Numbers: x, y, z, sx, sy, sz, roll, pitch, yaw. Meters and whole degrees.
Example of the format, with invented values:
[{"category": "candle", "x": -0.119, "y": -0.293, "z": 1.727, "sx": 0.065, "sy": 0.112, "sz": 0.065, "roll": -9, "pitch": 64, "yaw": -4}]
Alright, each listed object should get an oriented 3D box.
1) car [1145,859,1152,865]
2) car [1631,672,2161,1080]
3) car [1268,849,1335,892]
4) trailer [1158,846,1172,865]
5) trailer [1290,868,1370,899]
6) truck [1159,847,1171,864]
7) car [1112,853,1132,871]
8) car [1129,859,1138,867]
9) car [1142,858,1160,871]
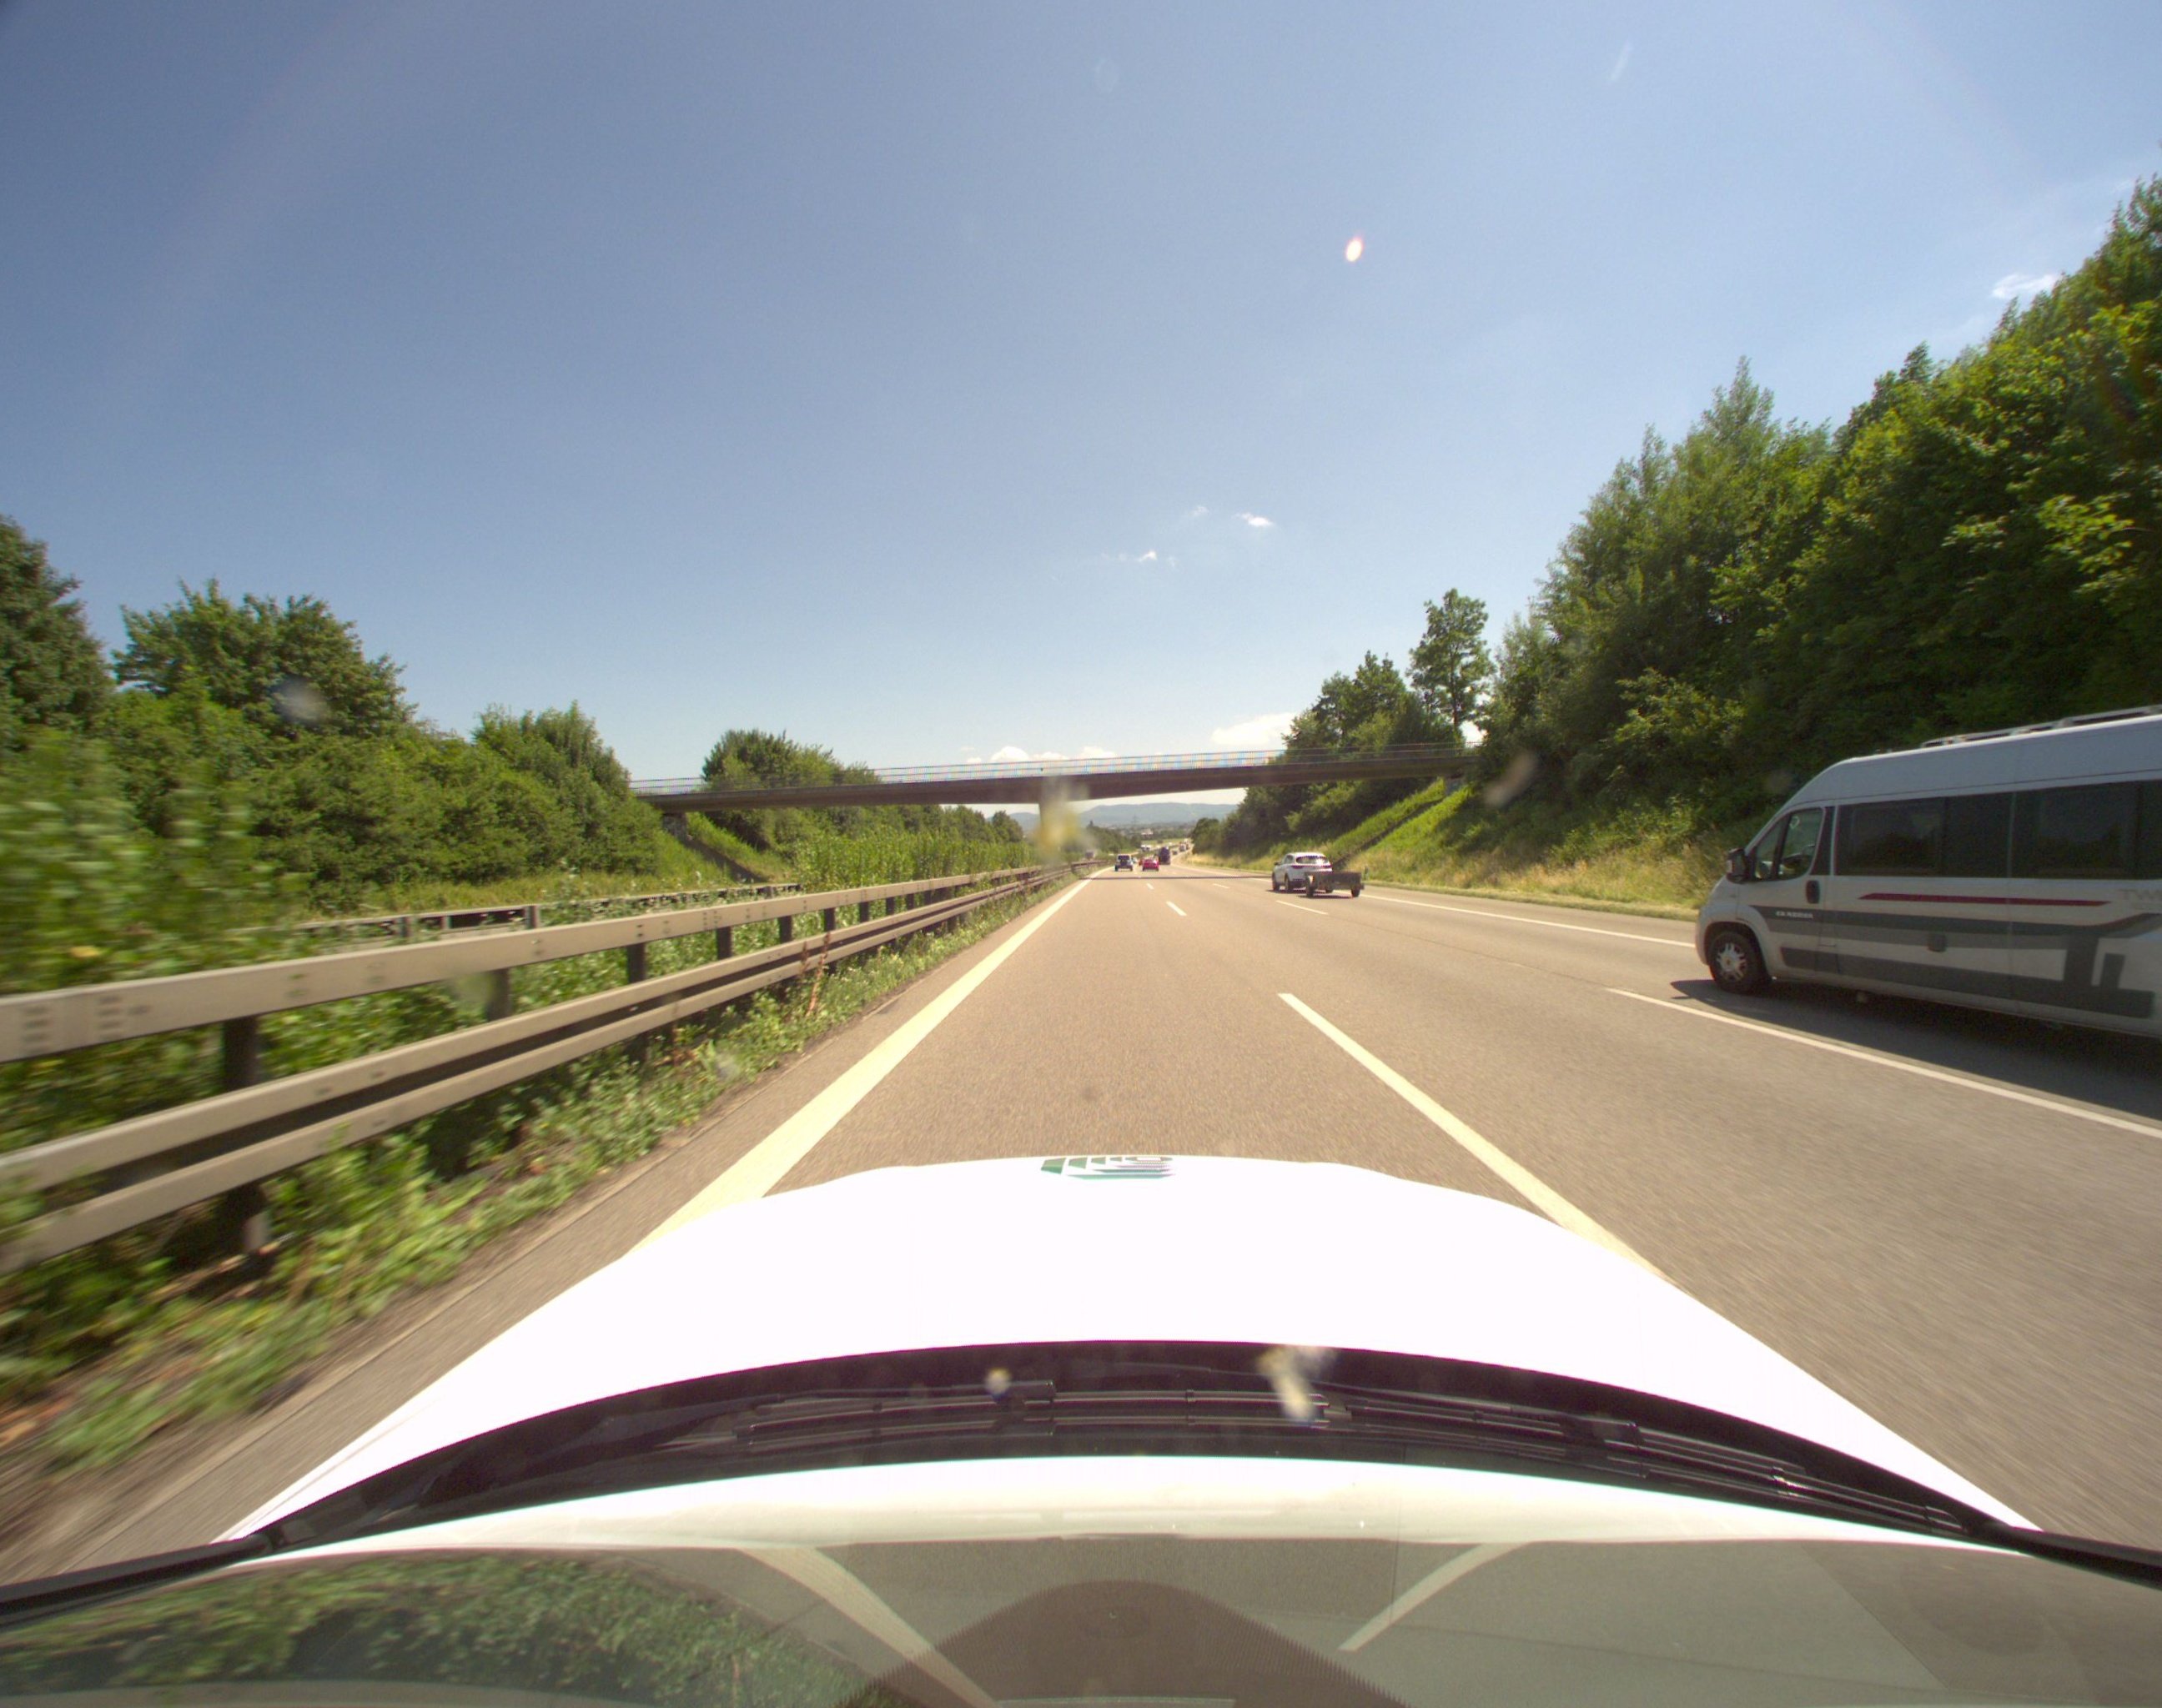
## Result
[{"category": "car", "x": 20.599, "y": 2.318, "z": 247.920, "sx": 1.624, "sy": 1.704, "sz": 3.413, "roll": 0, "pitch": 1, "yaw": 12}, {"category": "car", "x": 7.909, "y": 0.104, "z": 6.974, "sx": 2.082, "sy": 2.576, "sz": 6.624, "roll": 0, "pitch": 1, "yaw": 1}, {"category": "car", "x": 9.237, "y": 0.641, "z": 34.437, "sx": 1.774, "sy": 1.650, "sz": 4.405, "roll": 0, "pitch": 1, "yaw": 2}, {"category": "trailer", "x": 19.041, "y": 0.250, "z": 184.864, "sx": 2.841, "sy": 3.993, "sz": 15.422, "roll": 0, "pitch": 1, "yaw": 6}, {"category": "trailer", "x": 9.086, "y": 1.062, "z": 30.071, "sx": 1.747, "sy": 0.908, "sz": 4.321, "roll": 0, "pitch": 1, "yaw": 2}, {"category": "truck", "x": 19.782, "y": 0.260, "z": 192.452, "sx": 2.741, "sy": 3.852, "sz": 6.654, "roll": 0, "pitch": 1, "yaw": 5}, {"category": "car", "x": 4.542, "y": 0.872, "z": 90.497, "sx": 2.075, "sy": 1.829, "sz": 4.756, "roll": 0, "pitch": 1, "yaw": 2}, {"category": "car", "x": 13.793, "y": 2.447, "z": 212.734, "sx": 1.686, "sy": 2.013, "sz": 3.835, "roll": 0, "pitch": 1, "yaw": 12}, {"category": "car", "x": 7.750, "y": 1.137, "z": 90.458, "sx": 1.680, "sy": 1.379, "sz": 3.949, "roll": 0, "pitch": 1, "yaw": 1}]
